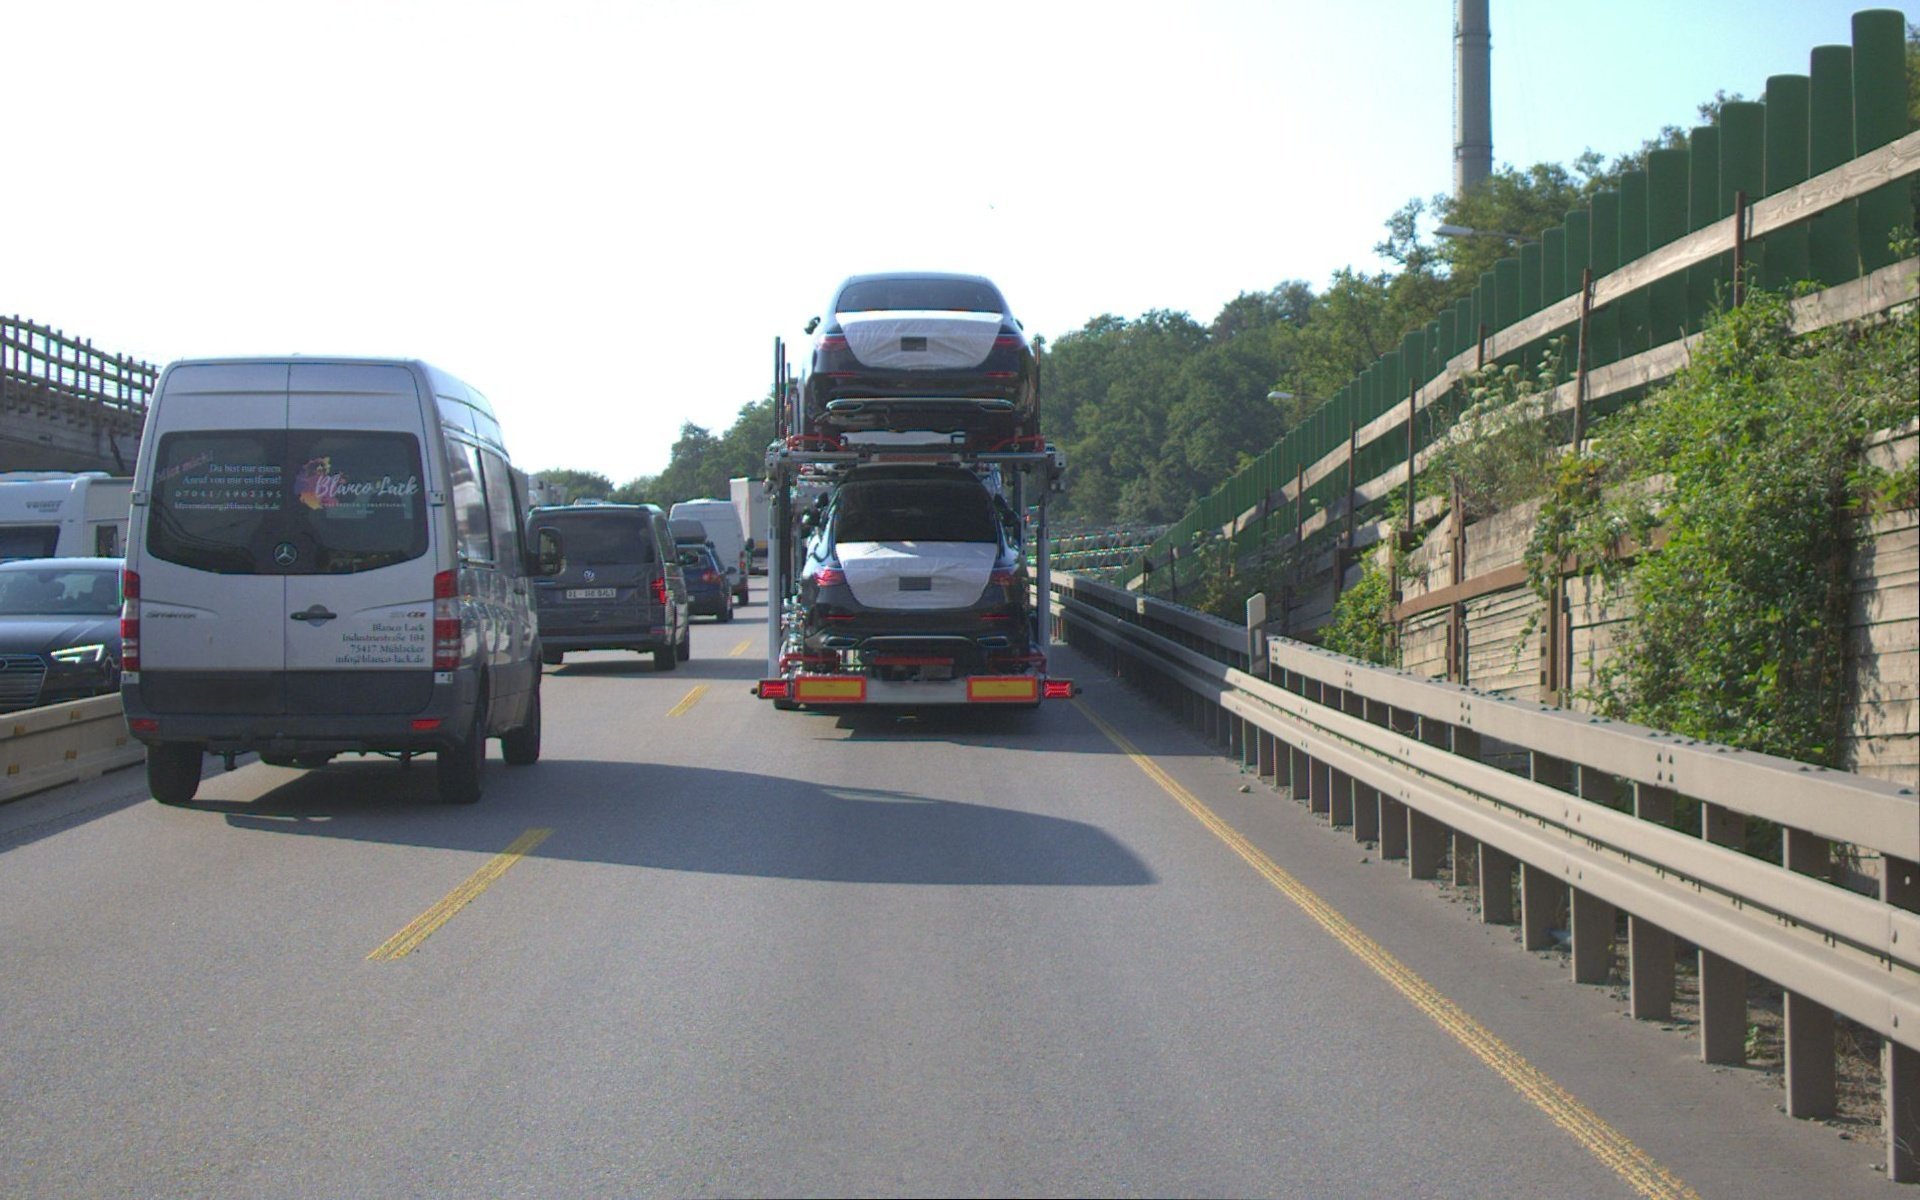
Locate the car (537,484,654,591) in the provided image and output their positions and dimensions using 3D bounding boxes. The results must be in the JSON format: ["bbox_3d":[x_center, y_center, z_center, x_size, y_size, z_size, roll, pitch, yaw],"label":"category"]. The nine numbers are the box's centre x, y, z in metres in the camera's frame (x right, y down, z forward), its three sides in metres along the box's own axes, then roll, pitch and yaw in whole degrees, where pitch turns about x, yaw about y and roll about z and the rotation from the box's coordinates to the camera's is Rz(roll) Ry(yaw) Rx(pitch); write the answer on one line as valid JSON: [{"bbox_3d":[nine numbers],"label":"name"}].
[{"bbox_3d":[-8.821,-1.494,83.556,2.471,2.525,4.000,1,0,-1],"label":"car"}]

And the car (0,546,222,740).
[{"bbox_3d":[-7.551,0.301,28.999,1.764,1.445,4.459,1,1,-1],"label":"car"}]

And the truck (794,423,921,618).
[{"bbox_3d":[-2.606,-1.918,85.157,2.907,4.591,7.287,0,1,-3],"label":"truck"}]

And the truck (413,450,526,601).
[{"bbox_3d":[-13.816,-2.074,97.231,2.709,4.079,6.205,1,0,-5],"label":"truck"}]

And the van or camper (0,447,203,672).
[{"bbox_3d":[-11.517,-0.511,43.916,2.312,2.653,6.455,-1,1,-1],"label":"van or camper"}]

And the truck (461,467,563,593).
[{"bbox_3d":[-15.268,-2.361,117.601,2.982,4.139,7.394,1,1,-4],"label":"truck"}]

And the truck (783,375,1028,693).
[{"bbox_3d":[-0.629,-0.747,42.293,2.682,3.523,7.193,1,0,0],"label":"truck"}]

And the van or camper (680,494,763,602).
[{"bbox_3d":[-6.000,-1.265,86.616,1.968,2.583,5.042,1,0,-4],"label":"van or camper"}]

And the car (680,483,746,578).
[{"bbox_3d":[-13.658,-3.796,190.148,3.444,5.018,9.654,1,1,-4],"label":"car"}]

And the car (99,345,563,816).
[{"bbox_3d":[-3.841,-0.148,22.014,1.993,2.639,5.531,0,1,0],"label":"car"}]

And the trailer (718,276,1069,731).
[{"bbox_3d":[-0.557,-0.763,34.724,2.682,3.523,15.288,1,0,0],"label":"trailer"}]

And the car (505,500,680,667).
[{"bbox_3d":[-4.451,-0.177,42.086,1.808,1.897,4.000,1,0,-2],"label":"car"}]

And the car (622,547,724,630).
[{"bbox_3d":[-5.521,-0.247,66.489,1.725,1.517,3.973,1,1,-2],"label":"car"}]

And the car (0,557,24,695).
[{"bbox_3d":[-11.401,0.312,36.571,1.640,1.525,4.784,-1,1,-1],"label":"car"}]

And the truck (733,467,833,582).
[{"bbox_3d":[-7.483,-3.137,145.280,4.064,4.663,10.593,0,1,-3],"label":"truck"}]

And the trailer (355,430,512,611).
[{"bbox_3d":[-12.908,-1.963,85.040,2.605,4.098,9.629,-3,1,-2],"label":"trailer"}]
